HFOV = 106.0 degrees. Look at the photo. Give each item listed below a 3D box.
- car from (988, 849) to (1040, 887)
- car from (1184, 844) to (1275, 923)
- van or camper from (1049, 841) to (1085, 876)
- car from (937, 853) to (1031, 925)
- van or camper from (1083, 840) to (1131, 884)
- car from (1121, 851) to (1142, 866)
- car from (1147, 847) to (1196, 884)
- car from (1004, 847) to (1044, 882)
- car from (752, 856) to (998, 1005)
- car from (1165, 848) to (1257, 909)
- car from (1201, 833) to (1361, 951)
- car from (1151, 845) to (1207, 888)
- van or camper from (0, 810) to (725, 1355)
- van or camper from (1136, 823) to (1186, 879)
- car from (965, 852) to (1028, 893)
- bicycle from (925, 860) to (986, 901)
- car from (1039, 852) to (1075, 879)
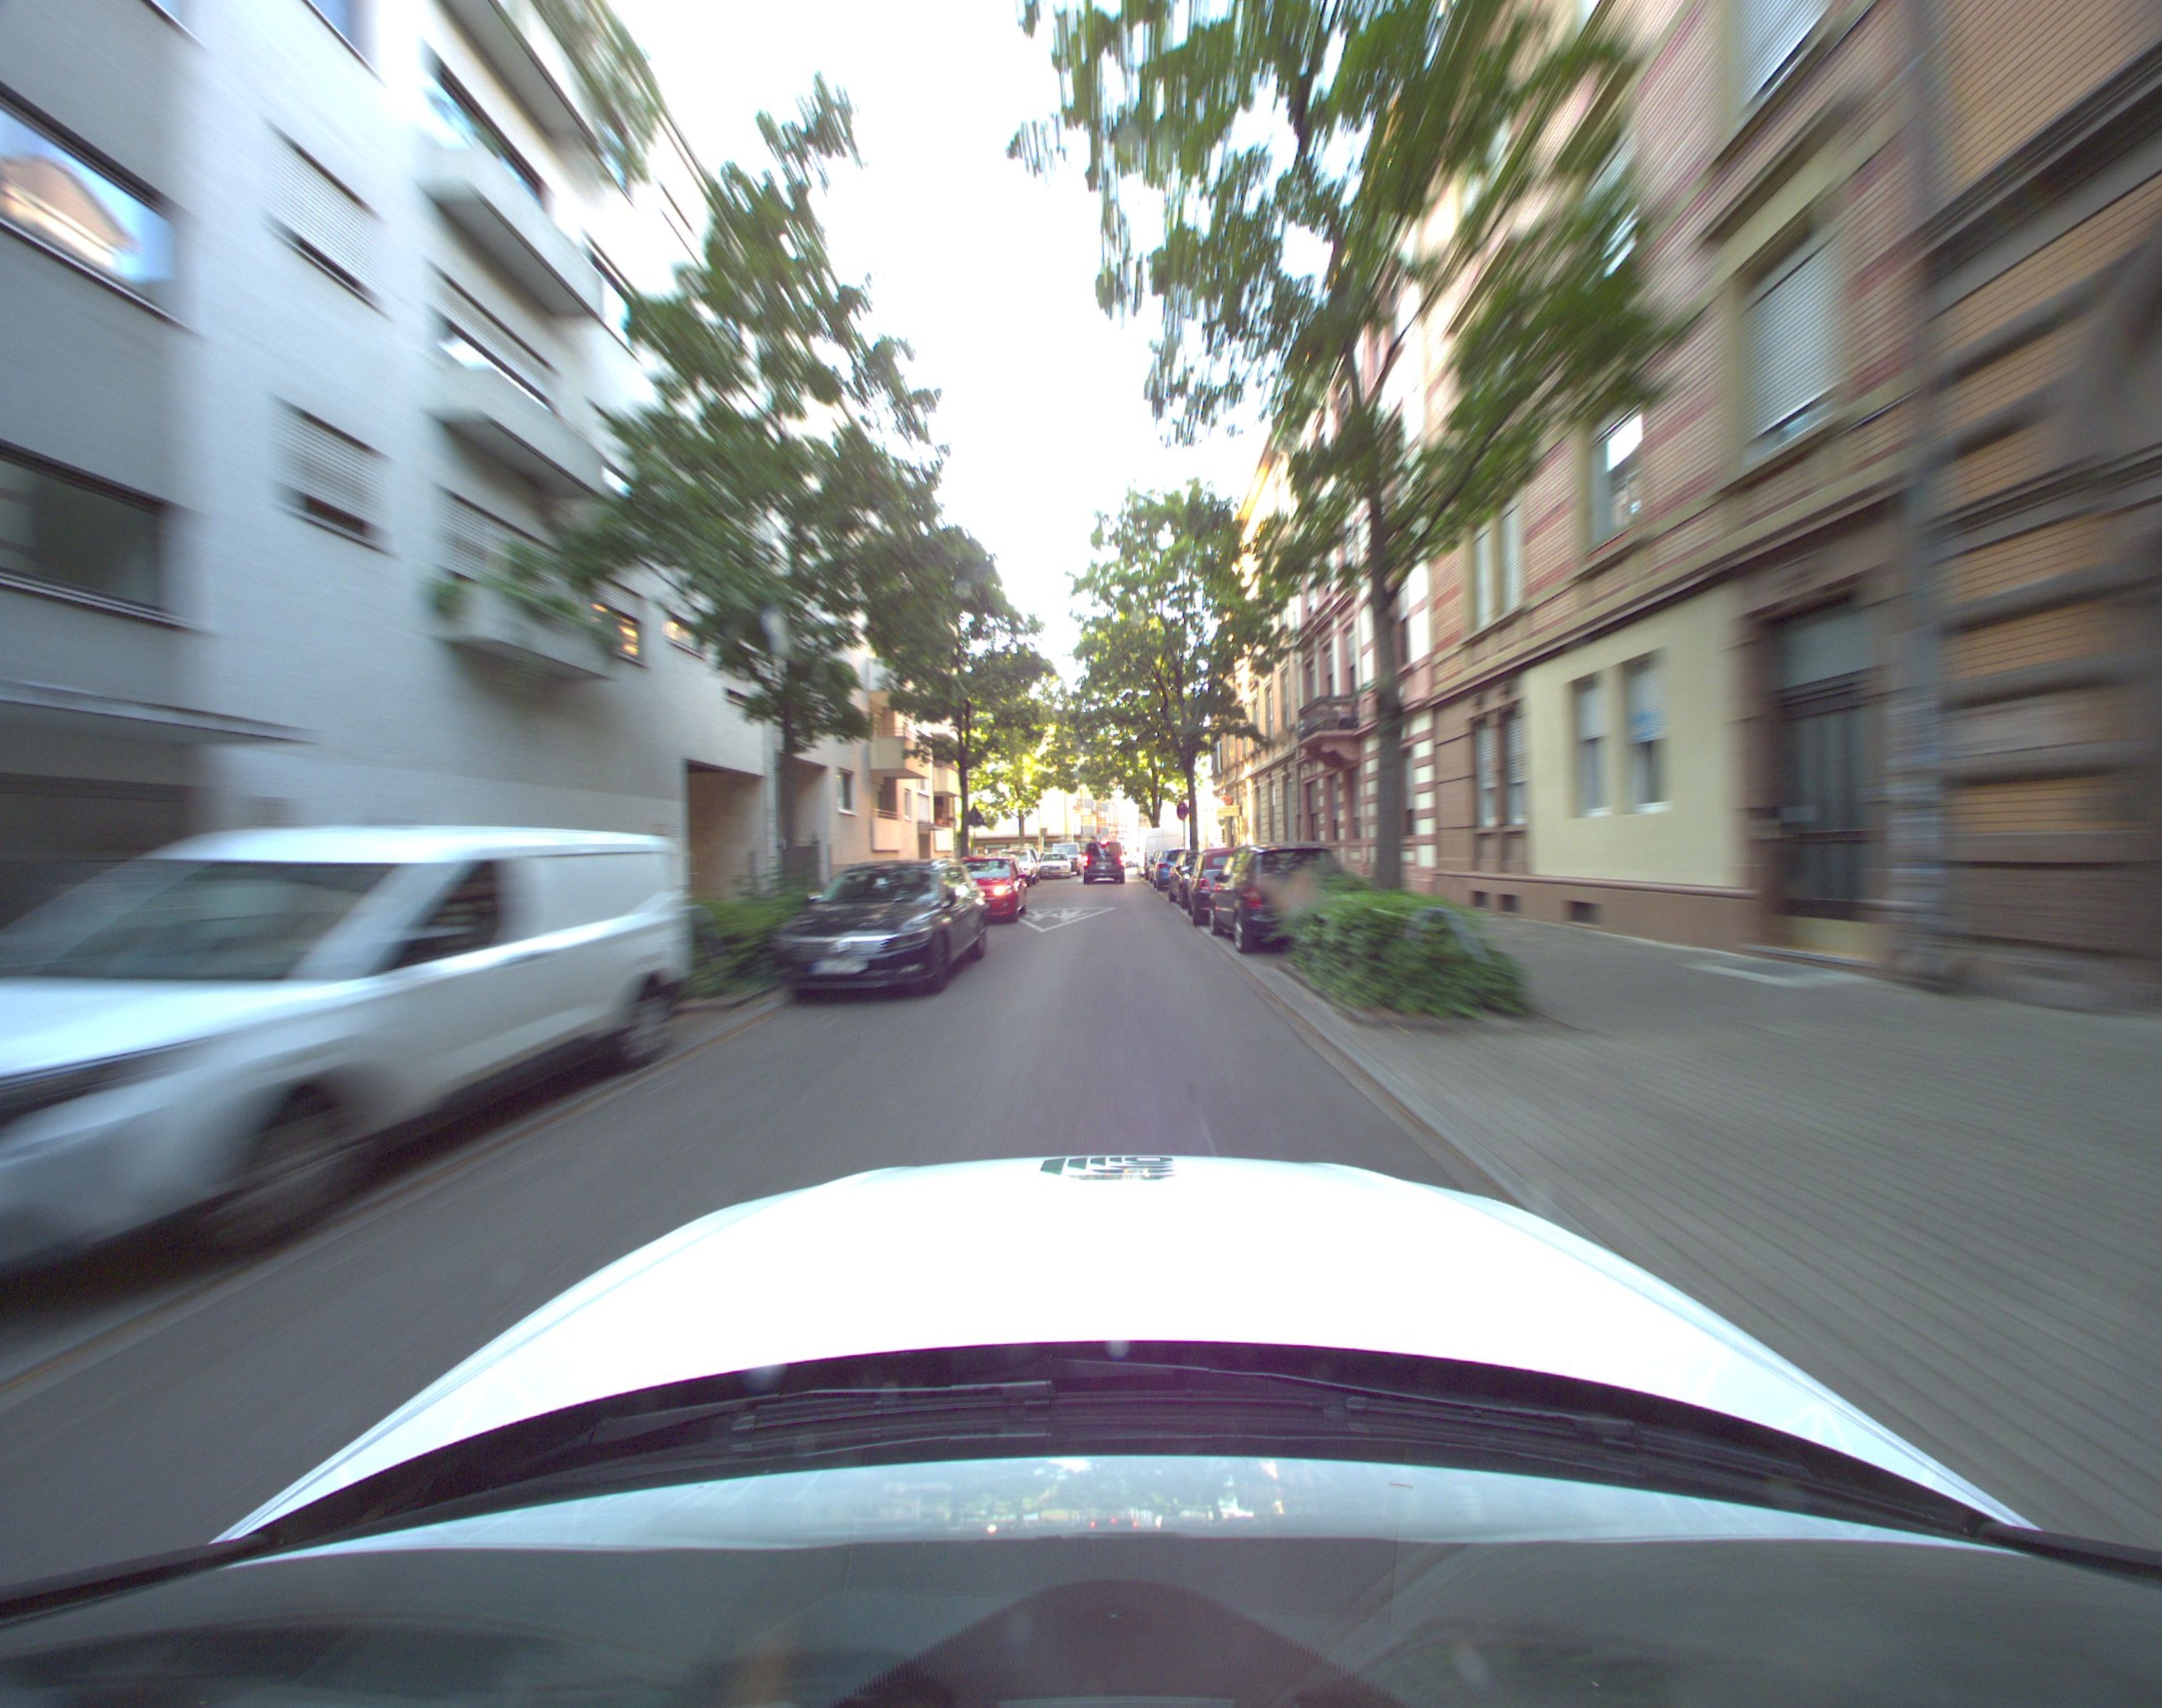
[{"bbox_3d":[-2.957,0.581,36.608,1.890,1.637,4.157,0,0,1],"label":"car"},{"bbox_3d":[3.065,0.556,17.380,1.544,1.496,3.615,-1,0,5],"label":"car"},{"bbox_3d":[-0.813,0.276,50.226,1.854,1.983,4.274,-2,0,3],"label":"van or camper"},{"bbox_3d":[-2.131,0.728,18.754,1.624,1.430,3.543,-2,0,1],"label":"car"},{"bbox_3d":[1.257,0.334,37.680,2.026,1.897,4.275,-1,0,4],"label":"van or camper"},{"bbox_3d":[5.767,0.469,92.903,1.783,1.578,3.762,-1,0,13],"label":"car"},{"bbox_3d":[3.871,0.454,35.400,1.744,1.471,3.776,-1,0,1],"label":"car"},{"bbox_3d":[-2.860,0.507,41.435,1.735,1.712,3.376,0,0,1],"label":"car"},{"bbox_3d":[-2.322,0.778,10.493,1.839,1.451,4.505,-1,0,2],"label":"car"},{"bbox_3d":[3.300,0.578,21.375,1.710,1.403,3.812,-2,0,-1],"label":"car"},{"bbox_3d":[3.035,0.516,13.121,1.606,1.559,3.766,-2,0,0],"label":"car"},{"bbox_3d":[3.557,0.427,30.147,1.743,1.471,3.778,-1,0,2],"label":"car"},{"bbox_3d":[-4.123,0.699,4.867,1.924,1.760,4.466,2,0,1],"label":"van or camper"},{"bbox_3d":[3.964,-0.155,41.127,1.987,2.599,5.424,-1,0,0],"label":"van or camper"},{"bbox_3d":[-3.227,0.668,31.776,1.731,1.484,3.845,0,0,5],"label":"car"},{"bbox_3d":[-3.857,0.799,25.148,1.839,1.195,0.598,0,1,-44],"label":"bicycle"},{"bbox_3d":[-1.306,0.605,45.130,1.735,1.404,3.376,-2,0,1],"label":"car"}]
